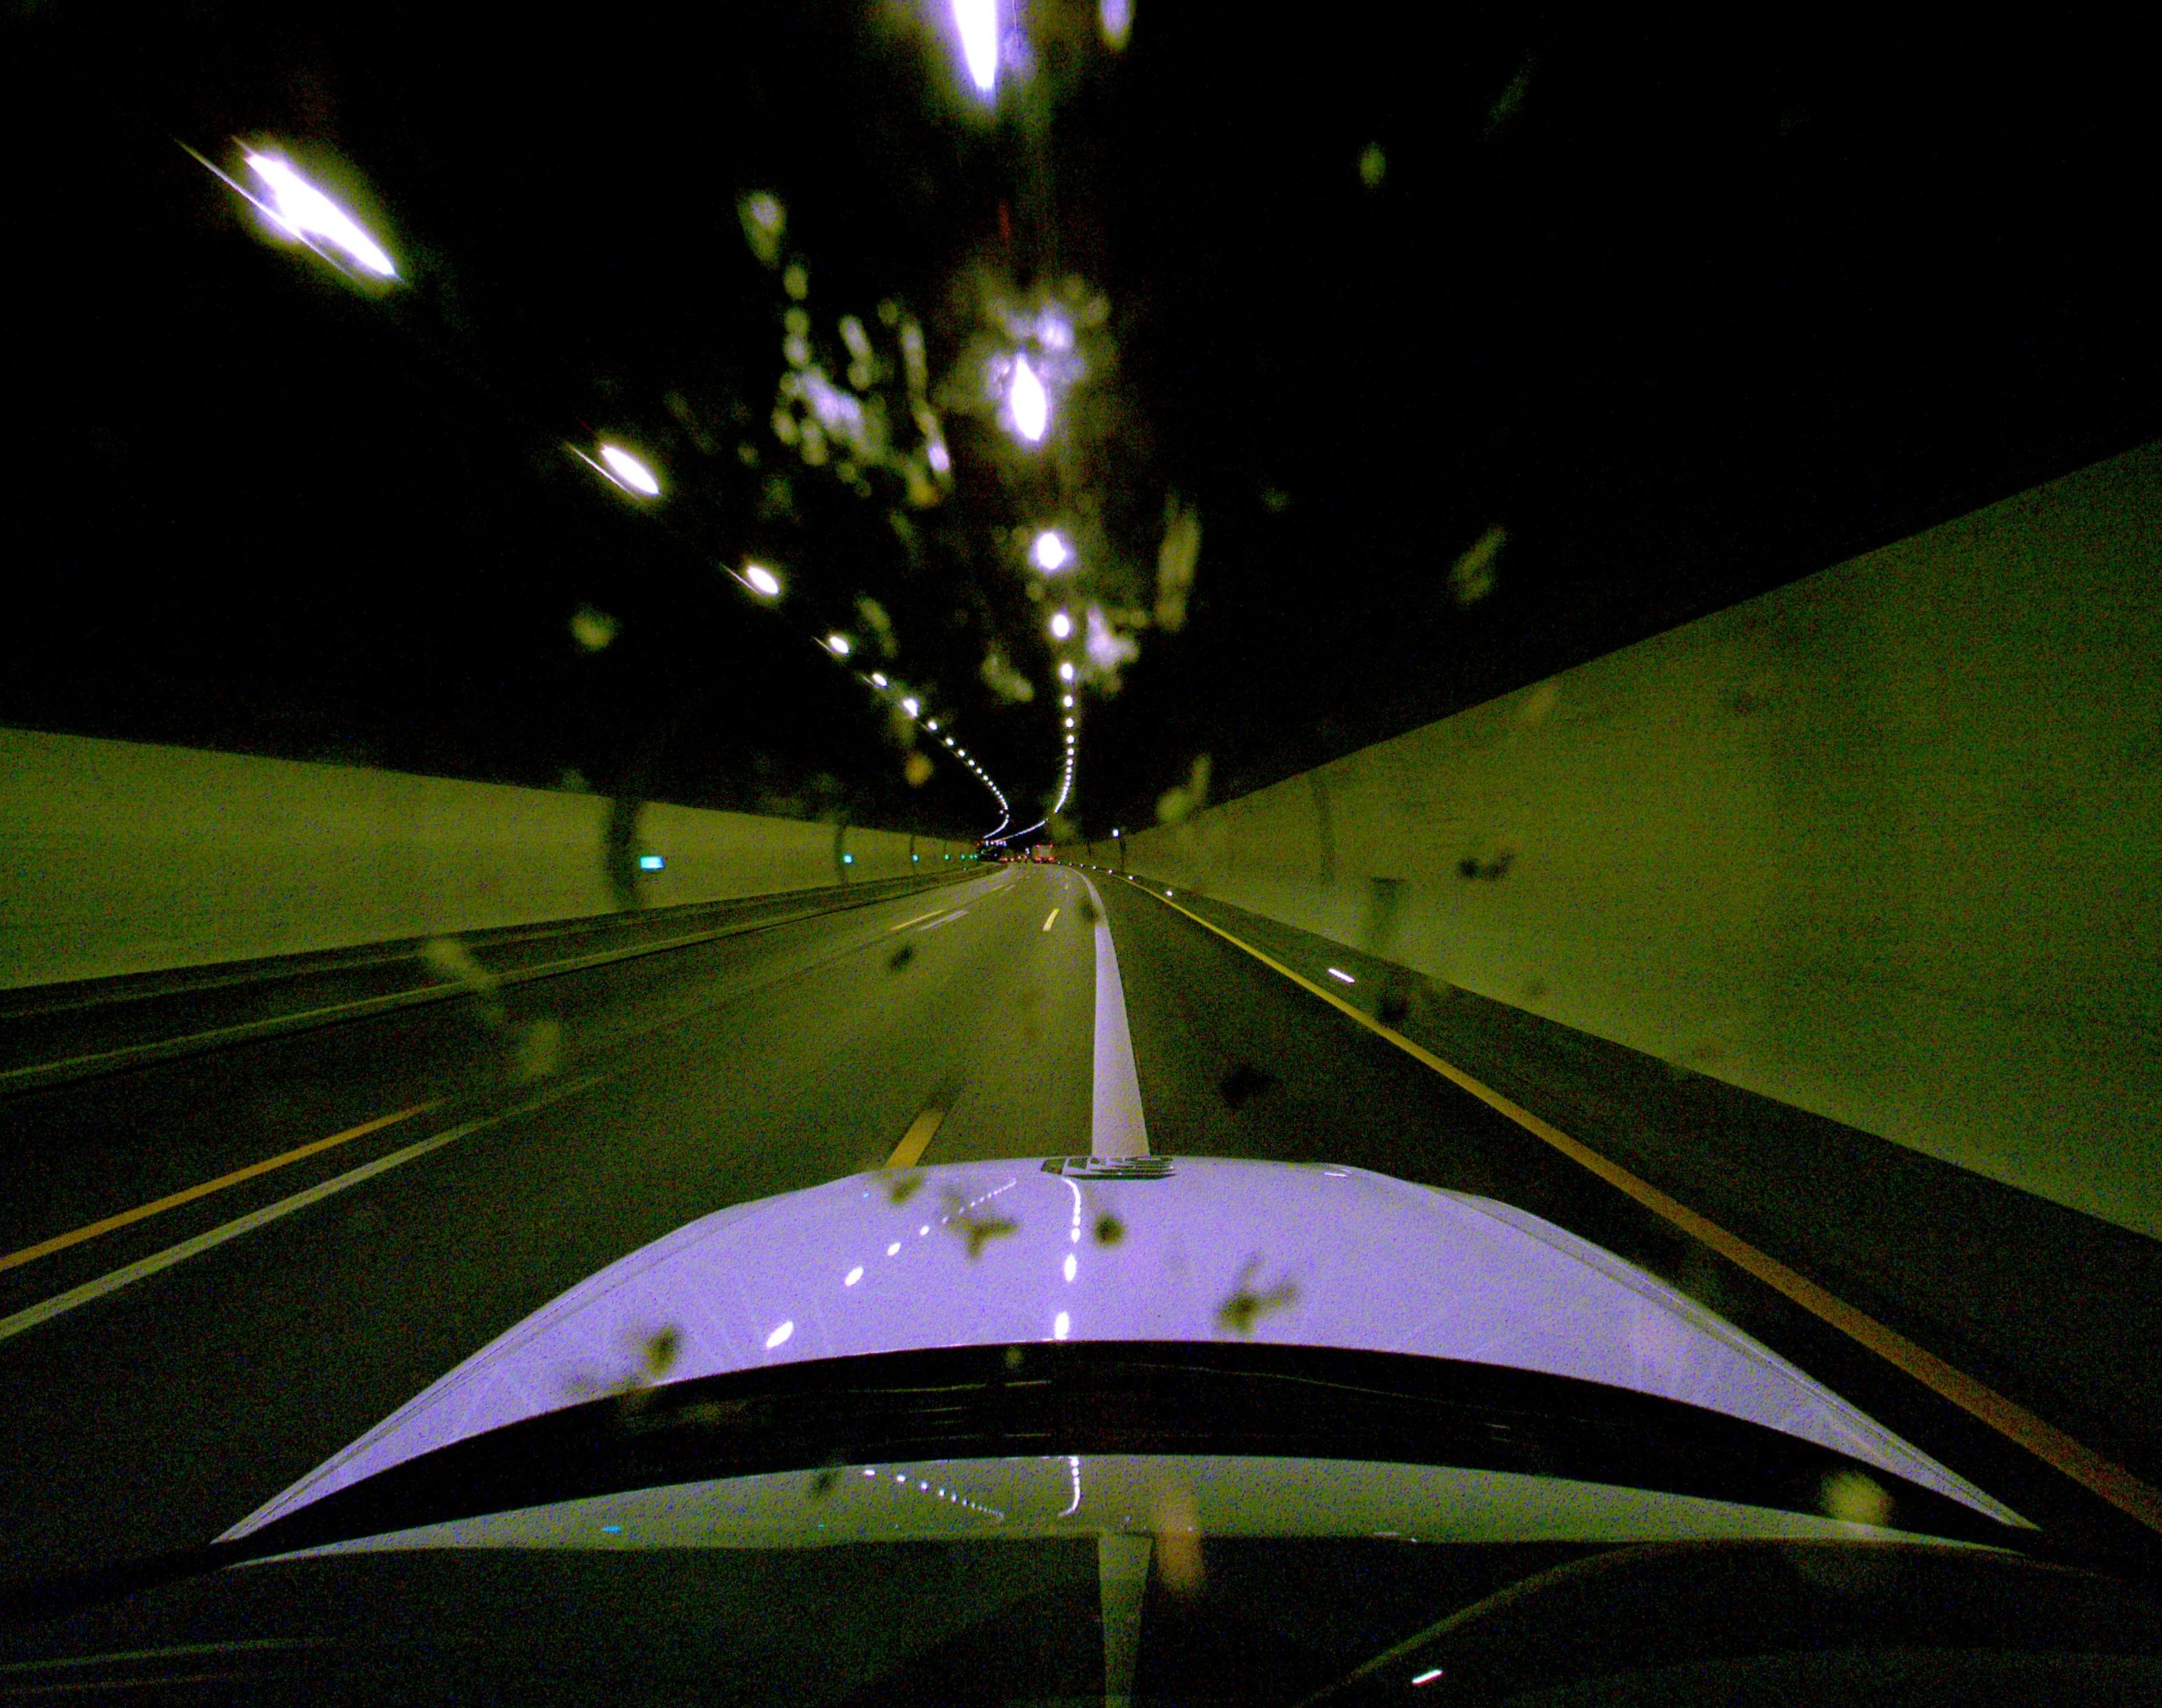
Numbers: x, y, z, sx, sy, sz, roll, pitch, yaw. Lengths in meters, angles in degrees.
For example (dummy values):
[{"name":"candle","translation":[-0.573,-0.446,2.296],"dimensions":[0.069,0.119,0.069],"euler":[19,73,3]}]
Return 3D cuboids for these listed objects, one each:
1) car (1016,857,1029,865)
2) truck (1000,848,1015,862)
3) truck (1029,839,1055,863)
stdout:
[{"name":"car","translation":[-11.839,1.413,164.708],"dimensions":[1.994,1.582,3.984],"euler":[0,0,-11]},{"name":"truck","translation":[-23.104,0.384,255.451],"dimensions":[3.475,4.316,10.912],"euler":[-1,0,-10]},{"name":"truck","translation":[-7.564,-0.515,156.986],"dimensions":[3.475,4.316,10.912],"euler":[-1,0,-10]}]
